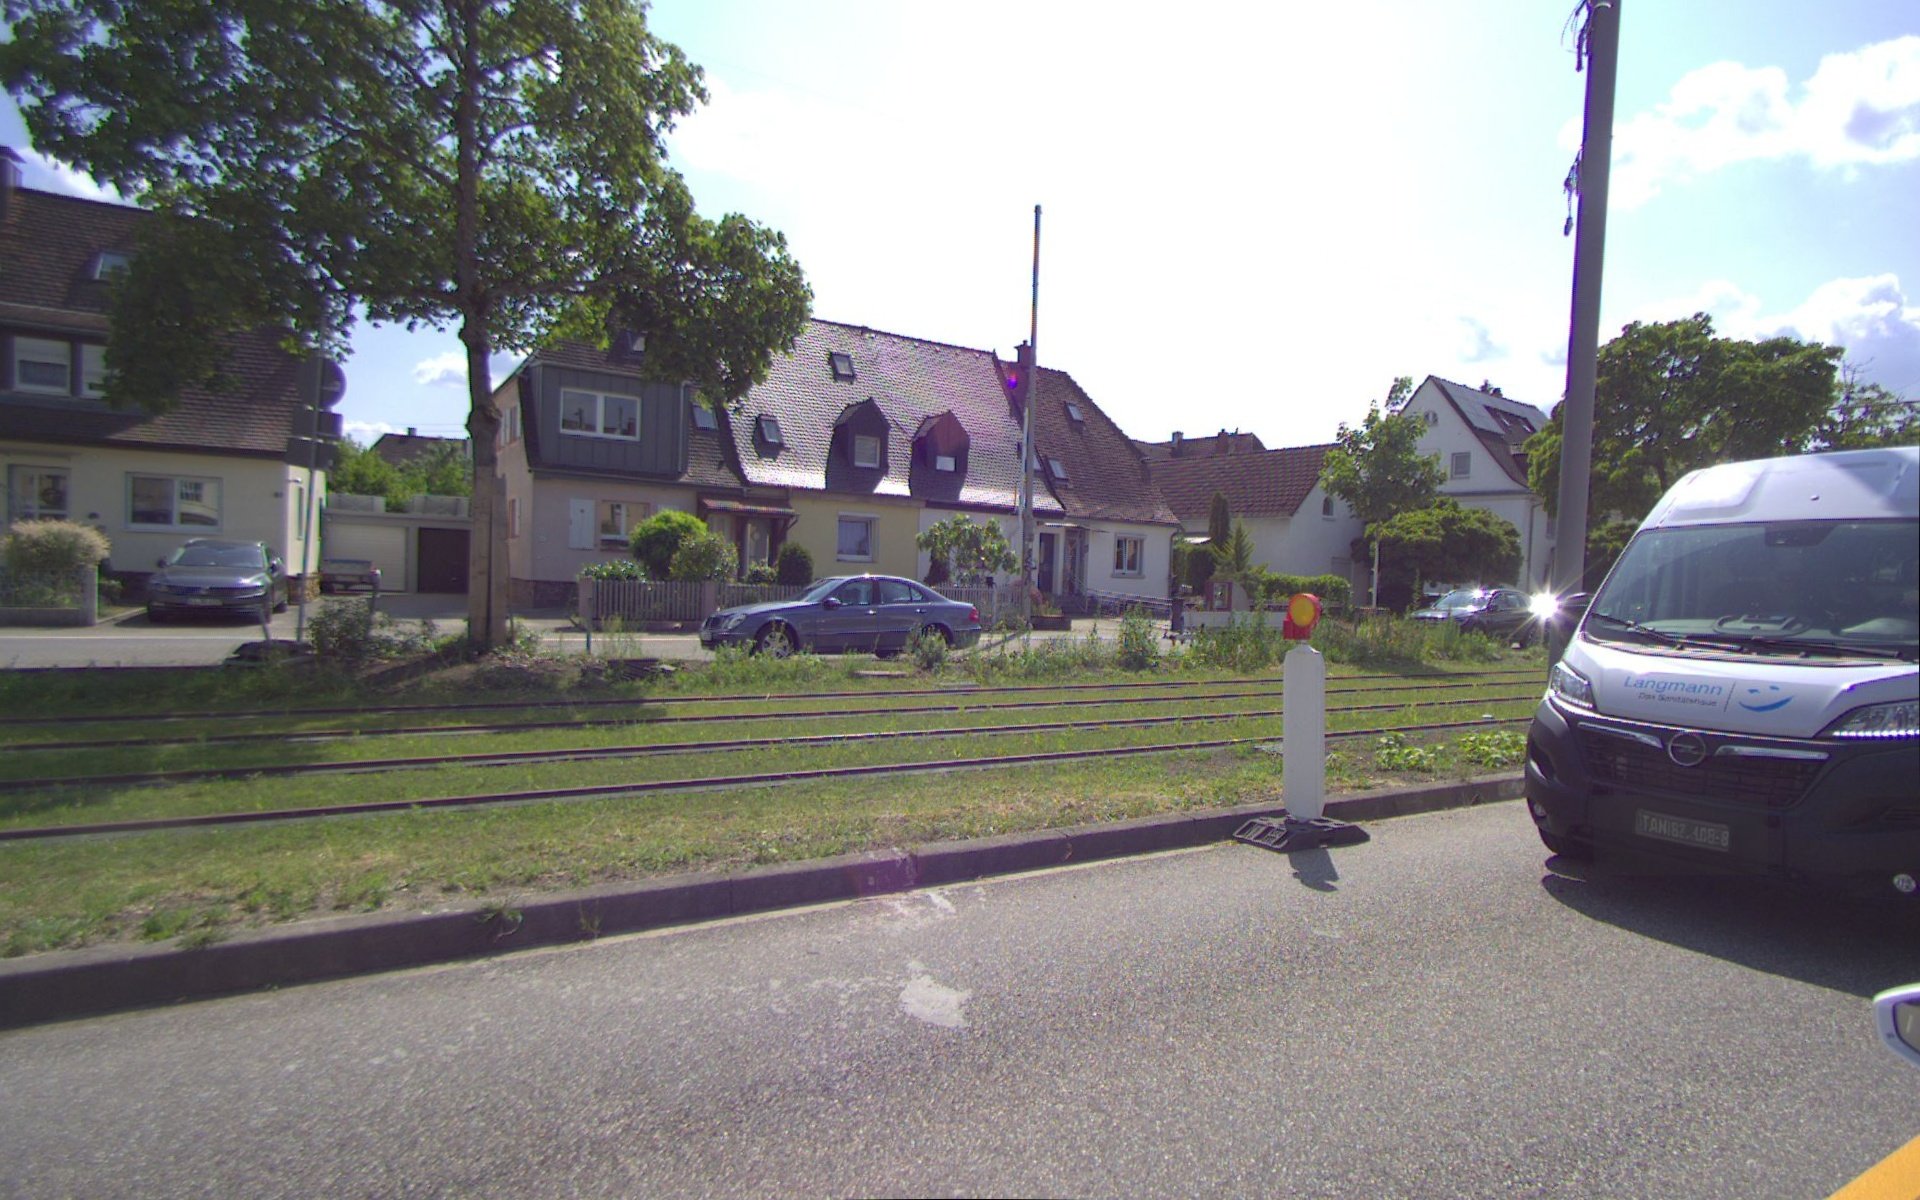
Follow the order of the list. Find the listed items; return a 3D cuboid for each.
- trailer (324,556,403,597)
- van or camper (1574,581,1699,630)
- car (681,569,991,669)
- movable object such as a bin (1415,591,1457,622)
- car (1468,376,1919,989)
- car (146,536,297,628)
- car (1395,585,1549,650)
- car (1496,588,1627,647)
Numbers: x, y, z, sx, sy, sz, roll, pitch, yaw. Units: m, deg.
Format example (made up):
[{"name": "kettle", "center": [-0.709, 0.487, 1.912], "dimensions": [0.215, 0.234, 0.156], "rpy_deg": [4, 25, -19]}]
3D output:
[{"name": "trailer", "center": [-17.436, -0.710, 29.356], "dimensions": [1.849, 1.039, 3.965], "rpy_deg": [1, 2, -31]}, {"name": "van or camper", "center": [47.739, 0.362, 71.087], "dimensions": [2.420, 3.168, 6.831], "rpy_deg": [1, 2, -37]}, {"name": "car", "center": [-1.978, 0.304, 16.626], "dimensions": [4.759, 1.425, 1.809], "rpy_deg": [1, 2, -32]}, {"name": "movable object such as a bin", "center": [21.711, 0.297, 45.829], "dimensions": [1.078, 1.347, 1.350], "rpy_deg": [1, 2, -35]}, {"name": "car", "center": [5.761, 0.352, 6.256], "dimensions": [5.512, 2.476, 2.090], "rpy_deg": [1, 2, -33]}, {"name": "car", "center": [-14.168, -0.380, 19.522], "dimensions": [1.904, 1.544, 4.447], "rpy_deg": [1, 2, -31]}, {"name": "car", "center": [13.670, 0.459, 26.716], "dimensions": [4.523, 1.608, 1.799], "rpy_deg": [1, 0, -36]}, {"name": "car", "center": [18.144, 0.517, 30.235], "dimensions": [4.521, 1.659, 1.684], "rpy_deg": [1, 0, -35]}]
